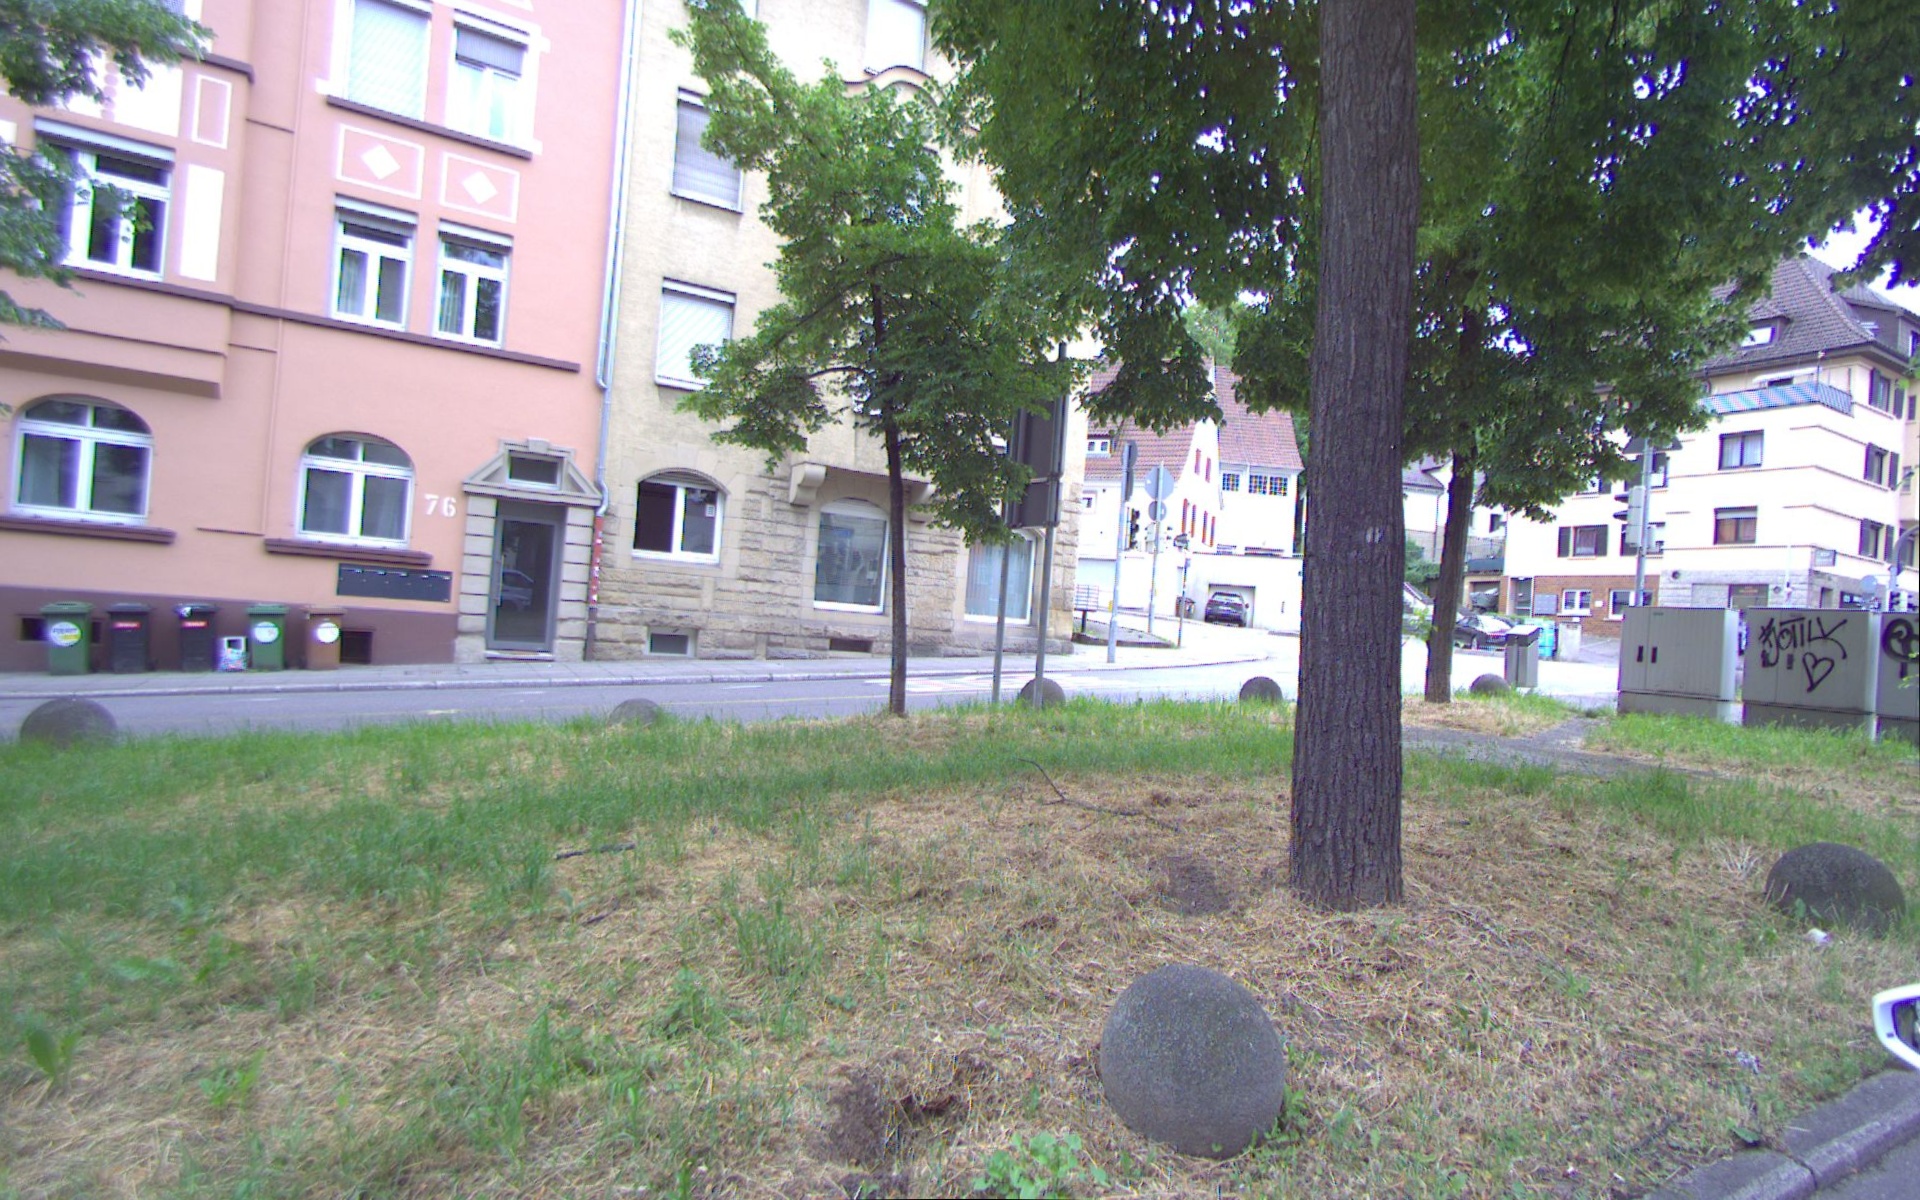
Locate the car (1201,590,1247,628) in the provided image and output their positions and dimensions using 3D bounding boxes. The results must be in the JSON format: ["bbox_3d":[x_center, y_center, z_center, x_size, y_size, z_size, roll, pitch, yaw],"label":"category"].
[{"bbox_3d":[11.745,0.372,44.809,1.638,1.424,3.058,7,3,11],"label":"car"}]

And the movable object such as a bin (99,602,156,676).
[{"bbox_3d":[-11.126,0.516,13.438,0.528,0.958,0.576,2,0,-36],"label":"movable object such as a bin"}]

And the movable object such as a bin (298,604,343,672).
[{"bbox_3d":[-9.278,0.541,14.565,0.510,0.934,0.752,2,0,-34],"label":"movable object such as a bin"}]

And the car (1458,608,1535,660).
[{"bbox_3d":[21.898,1.331,41.144,1.832,1.619,3.519,2,6,13],"label":"car"}]

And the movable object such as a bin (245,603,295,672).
[{"bbox_3d":[-9.788,0.525,14.254,0.554,0.934,0.649,2,0,-34],"label":"movable object such as a bin"}]

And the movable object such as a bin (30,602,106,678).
[{"bbox_3d":[-11.642,0.516,13.131,0.611,0.961,0.613,2,0,-31],"label":"movable object such as a bin"}]
